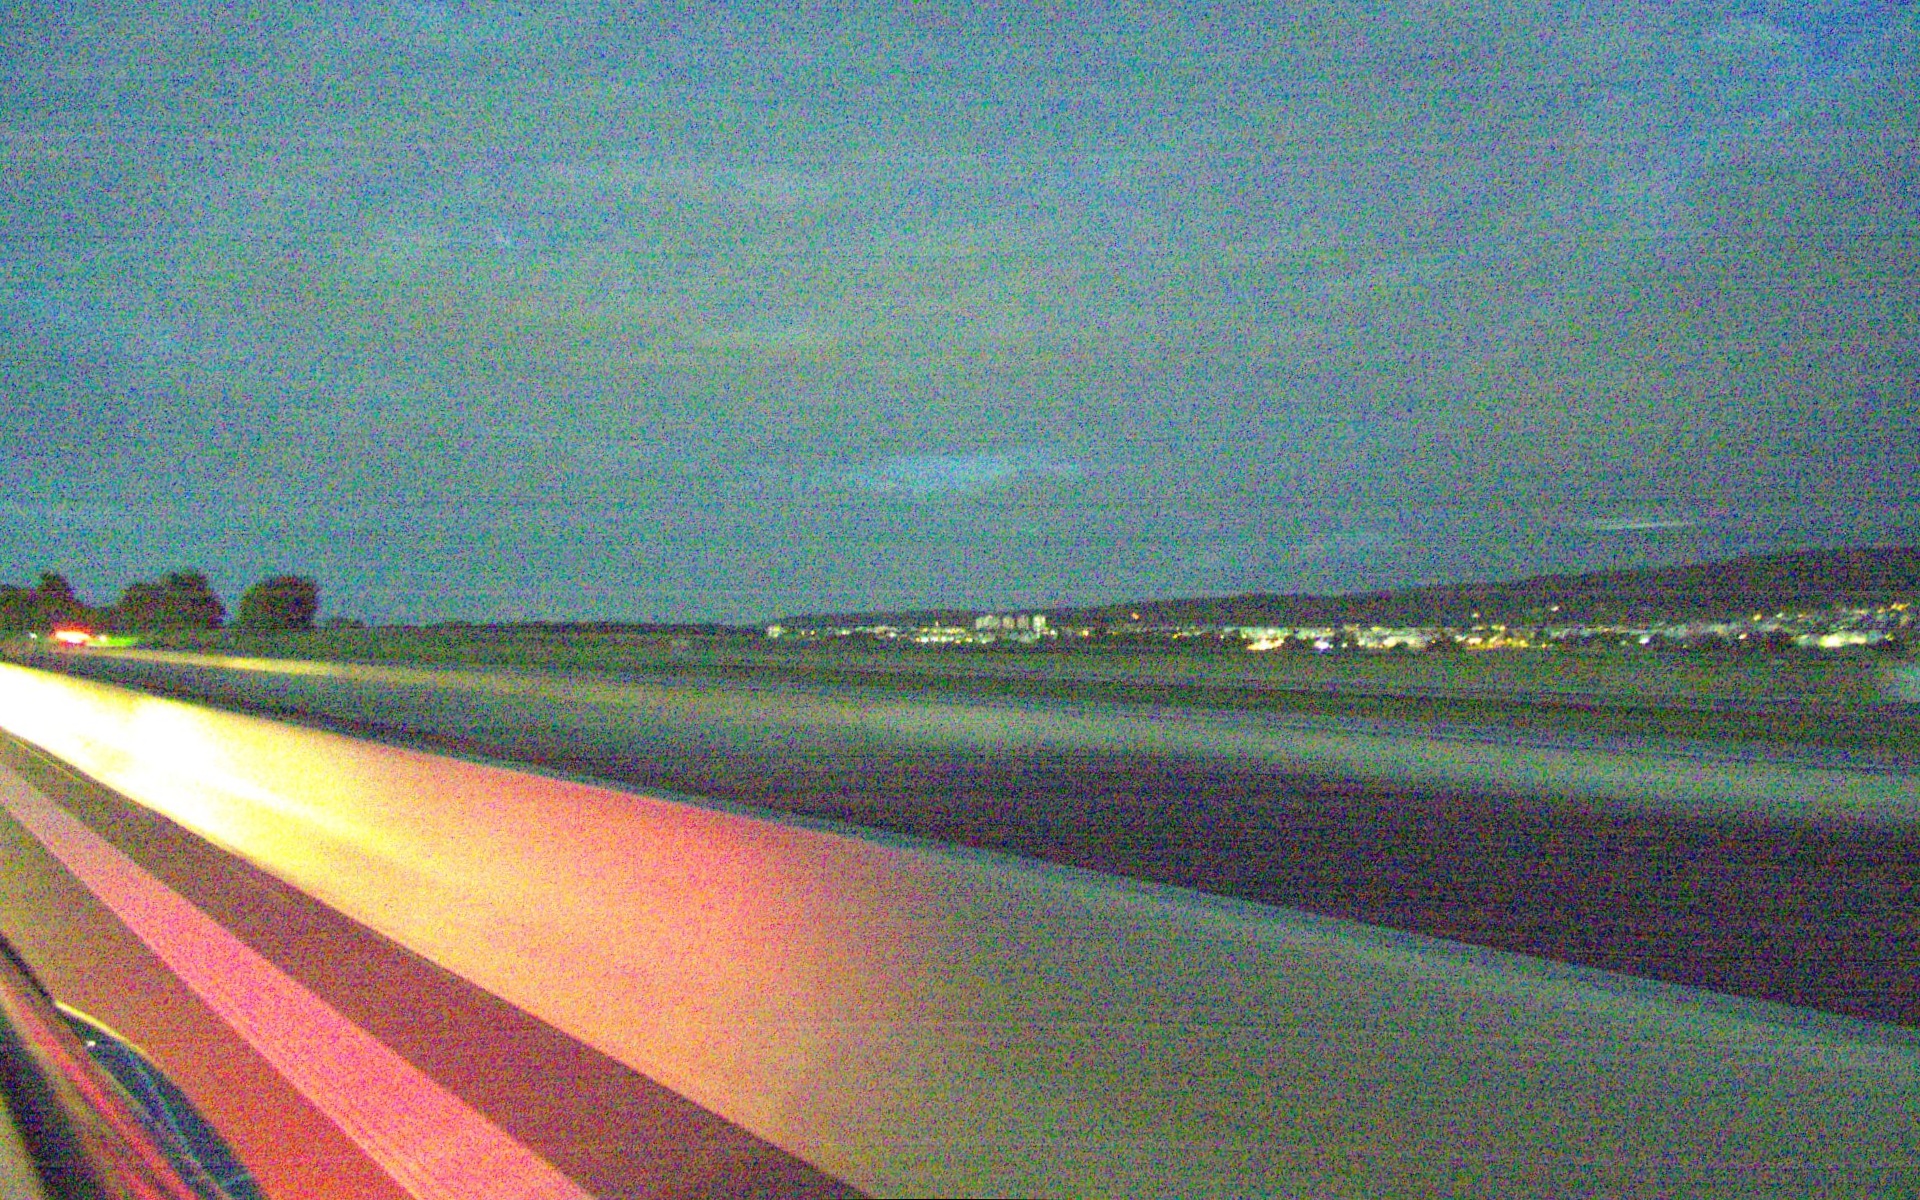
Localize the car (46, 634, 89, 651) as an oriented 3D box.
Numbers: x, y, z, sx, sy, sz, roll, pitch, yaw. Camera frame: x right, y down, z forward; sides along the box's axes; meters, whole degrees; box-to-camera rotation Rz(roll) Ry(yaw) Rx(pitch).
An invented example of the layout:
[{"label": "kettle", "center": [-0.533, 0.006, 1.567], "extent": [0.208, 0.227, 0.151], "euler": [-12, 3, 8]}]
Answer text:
[{"label": "car", "center": [-76.754, 3.632, 87.007], "extent": [4.978, 1.430, 1.973], "euler": [-1, -4, 39]}]
